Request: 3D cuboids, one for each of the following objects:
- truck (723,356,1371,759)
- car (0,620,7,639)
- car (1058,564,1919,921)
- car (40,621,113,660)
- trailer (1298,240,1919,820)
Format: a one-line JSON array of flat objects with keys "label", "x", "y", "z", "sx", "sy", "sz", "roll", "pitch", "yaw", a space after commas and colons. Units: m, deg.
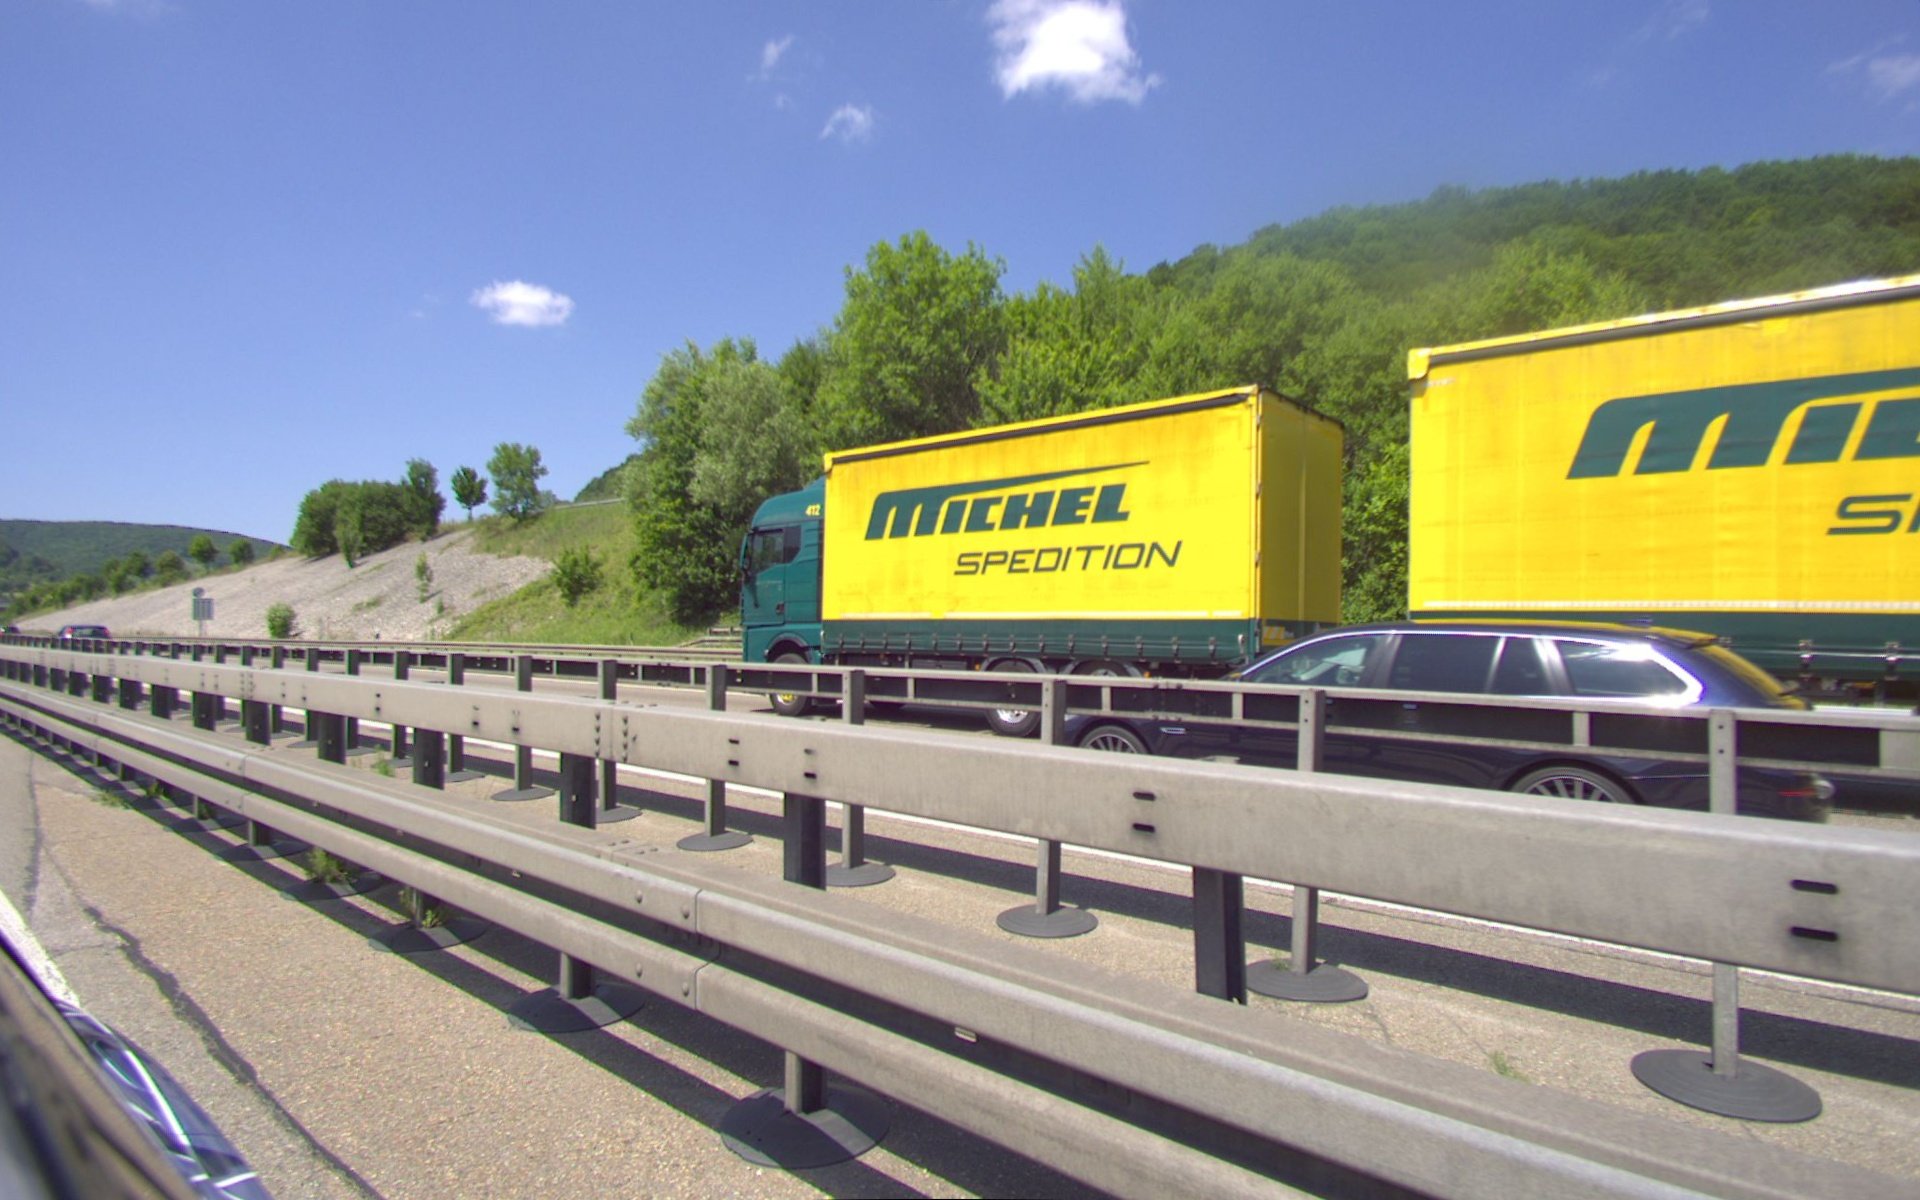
[{"label": "truck", "x": 0.584, "y": -0.392, "z": 14.745, "sx": 9.610, "sy": 4.178, "sz": 2.797, "roll": -1, "pitch": 0, "yaw": 41}, {"label": "car", "x": -99.508, "y": 3.035, "z": 104.123, "sx": 4.001, "sy": 2.029, "sz": 1.971, "roll": -2, "pitch": -2, "yaw": 44}, {"label": "car", "x": 3.133, "y": 0.692, "z": 6.747, "sx": 4.747, "sy": 1.608, "sz": 1.827, "roll": -1, "pitch": -1, "yaw": 40}, {"label": "car", "x": -35.902, "y": 1.602, "z": 41.097, "sx": 3.997, "sy": 1.445, "sz": 1.651, "roll": -1, "pitch": 0, "yaw": 40}, {"label": "trailer", "x": 8.287, "y": -0.524, "z": 7.945, "sx": 10.400, "sy": 4.178, "sz": 2.797, "roll": -1, "pitch": 0, "yaw": 41}]
